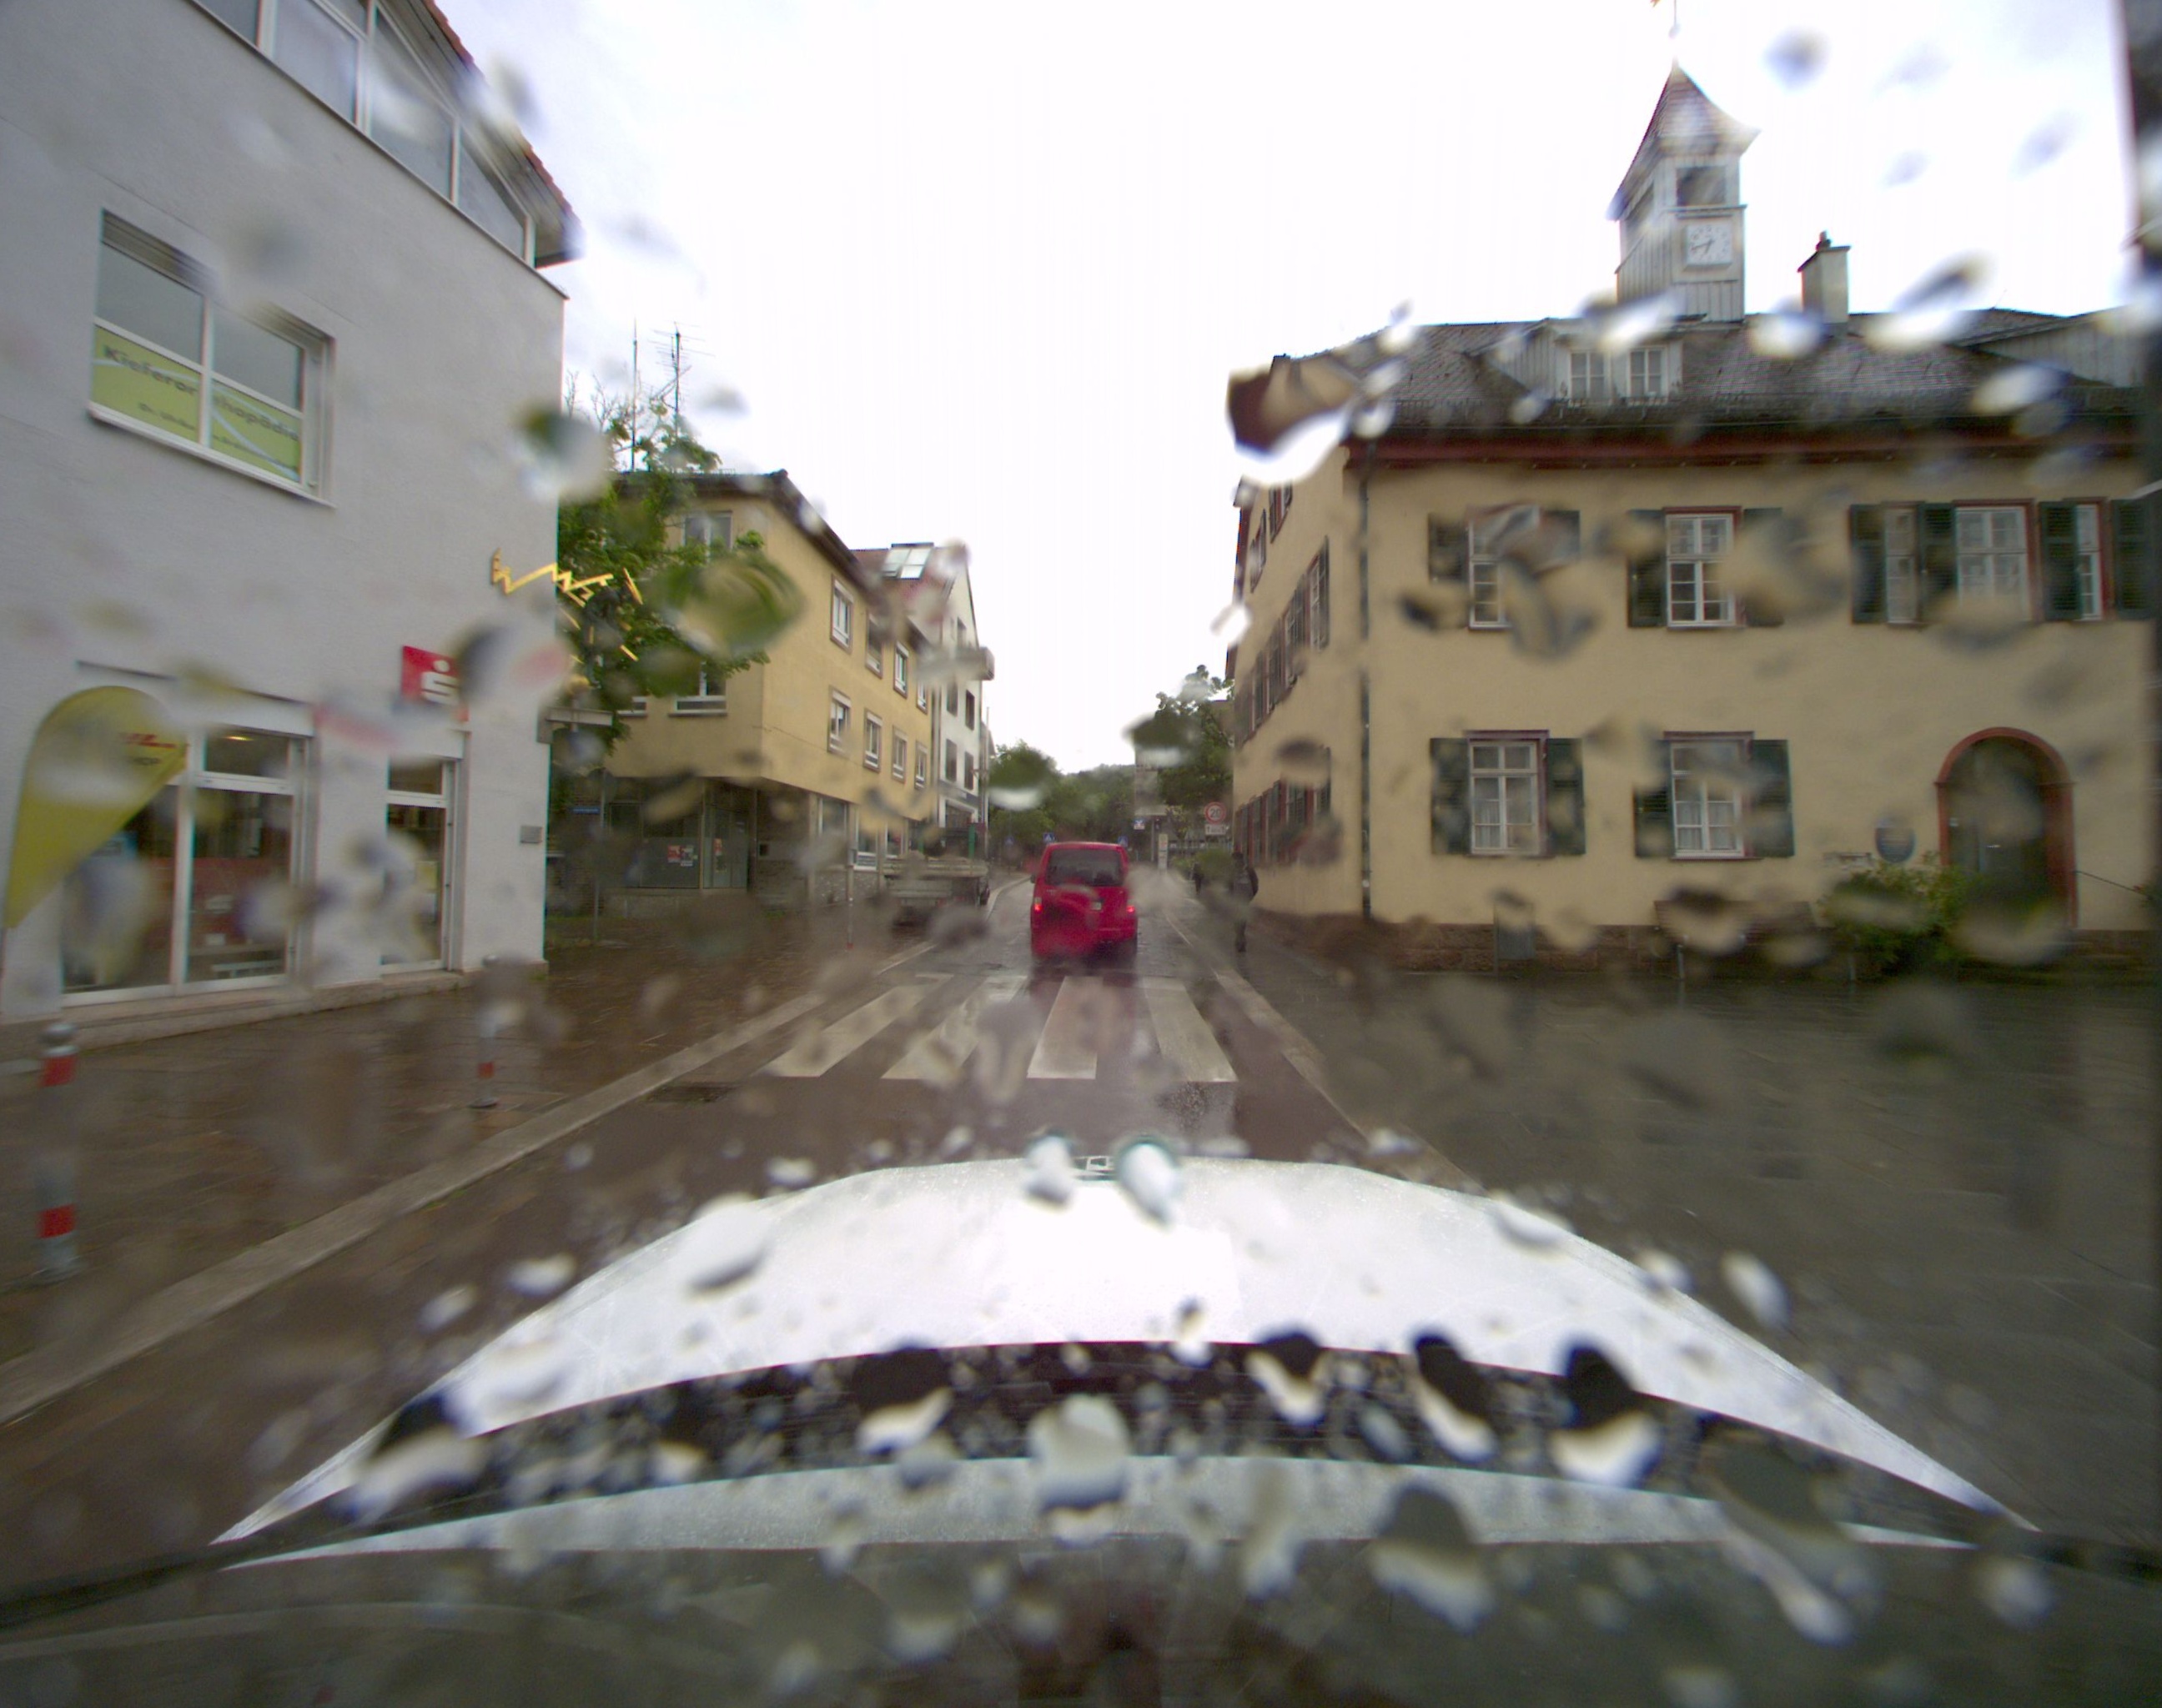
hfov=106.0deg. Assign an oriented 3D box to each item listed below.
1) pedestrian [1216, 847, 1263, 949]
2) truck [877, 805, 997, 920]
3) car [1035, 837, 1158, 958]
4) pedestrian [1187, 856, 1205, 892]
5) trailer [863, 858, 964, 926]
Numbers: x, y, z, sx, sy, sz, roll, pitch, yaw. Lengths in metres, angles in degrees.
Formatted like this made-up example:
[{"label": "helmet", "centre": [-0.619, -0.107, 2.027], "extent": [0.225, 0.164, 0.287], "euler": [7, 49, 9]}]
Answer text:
[{"label": "pedestrian", "centre": [2.706, 0.726, 13.968], "extent": [0.710, 1.693, 0.869], "euler": [0, 0, 6]}, {"label": "truck", "centre": [-3.866, 0.169, 23.253], "extent": [2.467, 2.795, 6.594], "euler": [-1, 0, -2]}, {"label": "car", "centre": [0.204, 0.692, 14.480], "extent": [1.857, 1.831, 4.182], "euler": [0, -1, -1]}, {"label": "pedestrian", "centre": [5.155, 0.893, 36.530], "extent": [0.724, 1.617, 0.694], "euler": [-1, -1, 5]}, {"label": "trailer", "centre": [-3.680, 0.795, 18.387], "extent": [1.724, 1.346, 3.158], "euler": [-1, 0, -3]}]
